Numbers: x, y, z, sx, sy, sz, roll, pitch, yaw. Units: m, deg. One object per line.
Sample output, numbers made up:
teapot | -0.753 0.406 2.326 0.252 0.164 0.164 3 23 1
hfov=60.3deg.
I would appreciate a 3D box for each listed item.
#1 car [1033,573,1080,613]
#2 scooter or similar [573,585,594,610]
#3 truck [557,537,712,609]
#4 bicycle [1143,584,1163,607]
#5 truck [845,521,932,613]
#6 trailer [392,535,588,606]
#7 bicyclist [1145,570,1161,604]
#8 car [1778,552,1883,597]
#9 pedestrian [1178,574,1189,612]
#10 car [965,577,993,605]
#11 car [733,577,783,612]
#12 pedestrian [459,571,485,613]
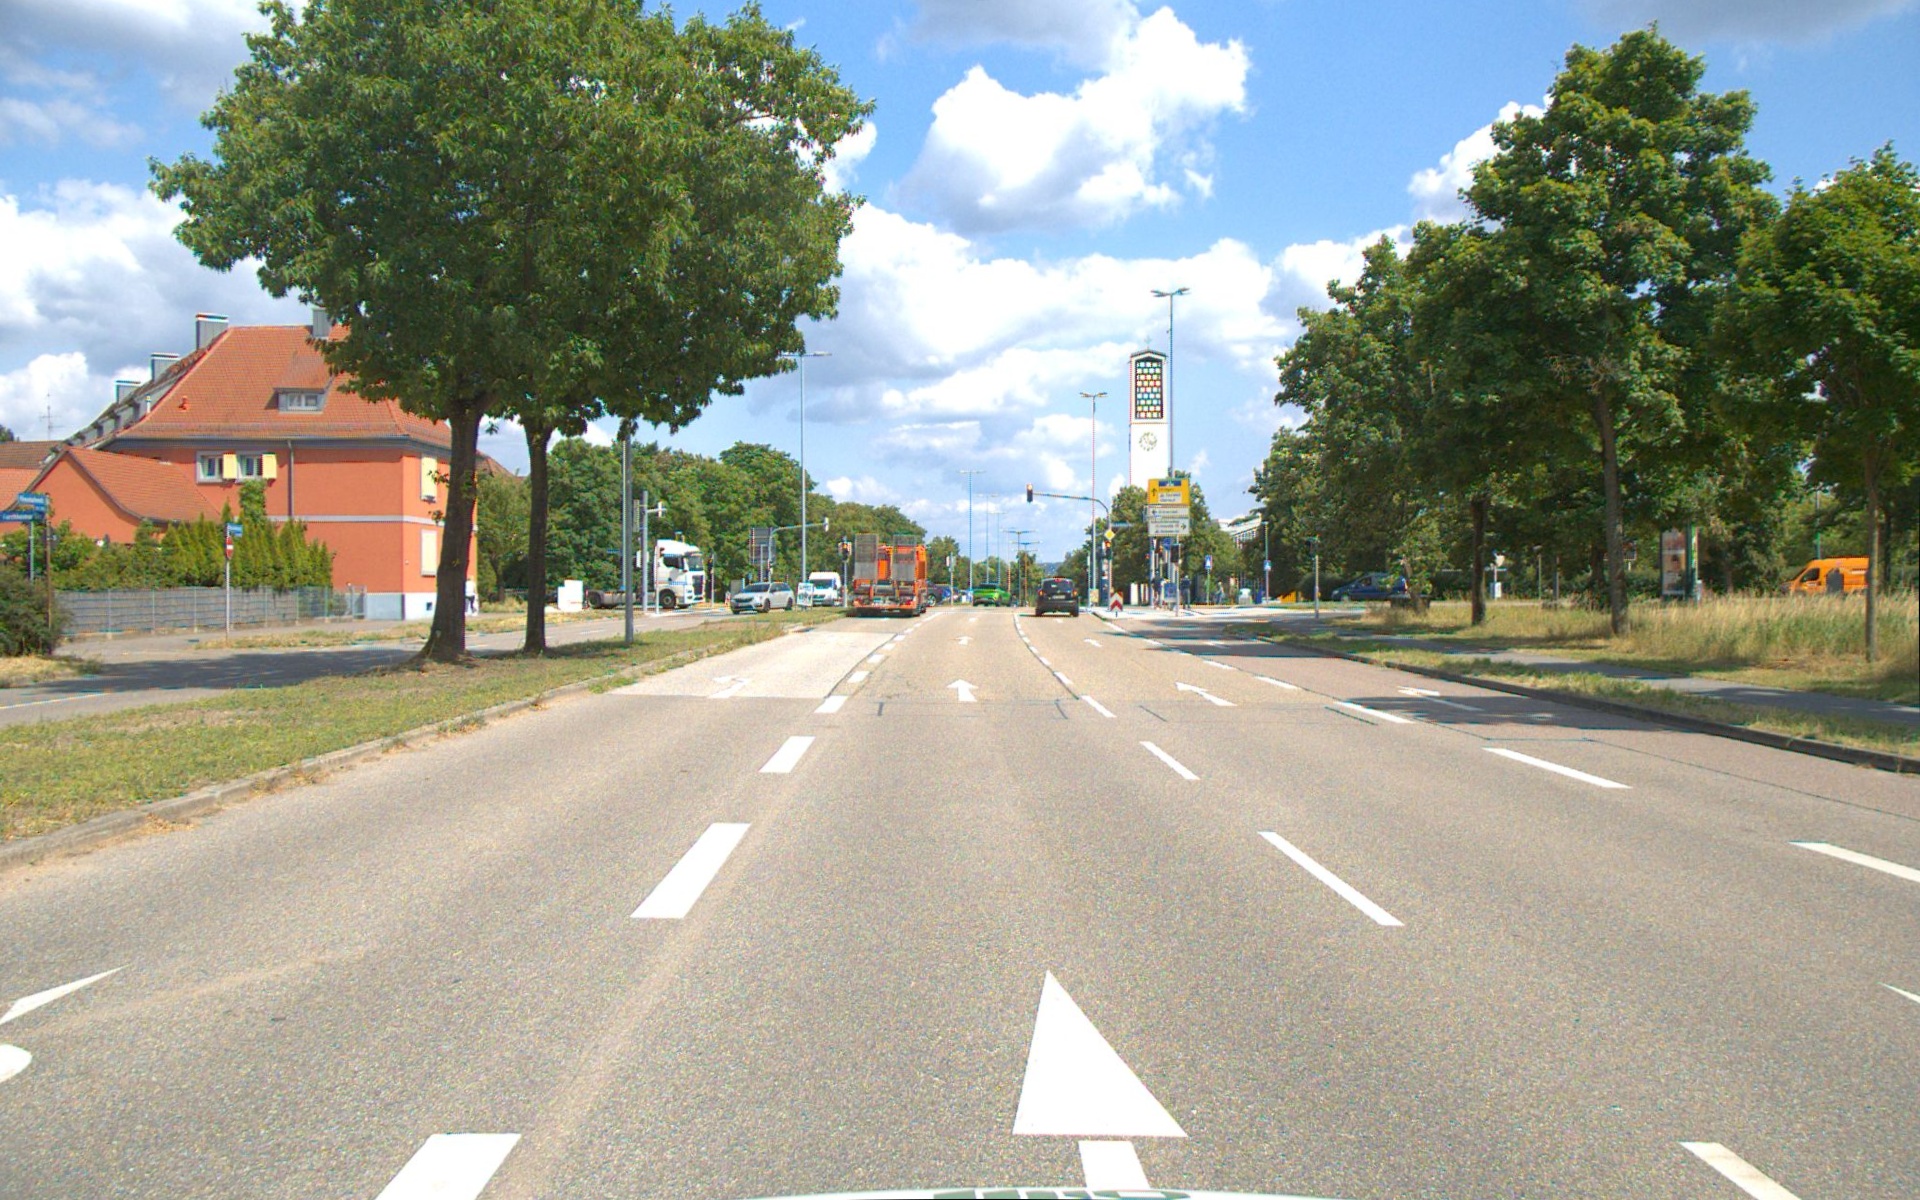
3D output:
car | 4.073 -0.277 70.127 1.762 1.579 4.000 2 0 0
scooter or similar | -18.438 -0.109 81.088 0.577 1.184 1.762 2 0 0
truck | -19.026 -1.587 96.634 8.427 4.040 2.971 1 0 16
bicycle | 9.627 -0.227 82.388 0.634 1.127 1.929 2 0 16
truck | -2.863 -1.252 69.504 3.008 3.474 11.068 2 0 0
trailer | -28.206 -1.769 99.369 11.043 4.082 3.634 1 0 16
bicyclist | 9.586 -0.647 82.204 0.634 1.690 0.650 2 -1 16
car | 48.170 -1.409 91.611 4.741 2.264 2.213 2 0 14
pedestrian | 10.998 -0.345 81.441 0.454 1.810 0.482 2 -1 12
car | 1.209 -0.579 105.333 1.704 1.698 3.590 2 0 0
car | -9.618 -0.250 79.079 1.697 1.534 4.652 -3 0 0
pedestrian | -18.949 -0.305 64.256 0.681 1.611 0.851 2 0 0
